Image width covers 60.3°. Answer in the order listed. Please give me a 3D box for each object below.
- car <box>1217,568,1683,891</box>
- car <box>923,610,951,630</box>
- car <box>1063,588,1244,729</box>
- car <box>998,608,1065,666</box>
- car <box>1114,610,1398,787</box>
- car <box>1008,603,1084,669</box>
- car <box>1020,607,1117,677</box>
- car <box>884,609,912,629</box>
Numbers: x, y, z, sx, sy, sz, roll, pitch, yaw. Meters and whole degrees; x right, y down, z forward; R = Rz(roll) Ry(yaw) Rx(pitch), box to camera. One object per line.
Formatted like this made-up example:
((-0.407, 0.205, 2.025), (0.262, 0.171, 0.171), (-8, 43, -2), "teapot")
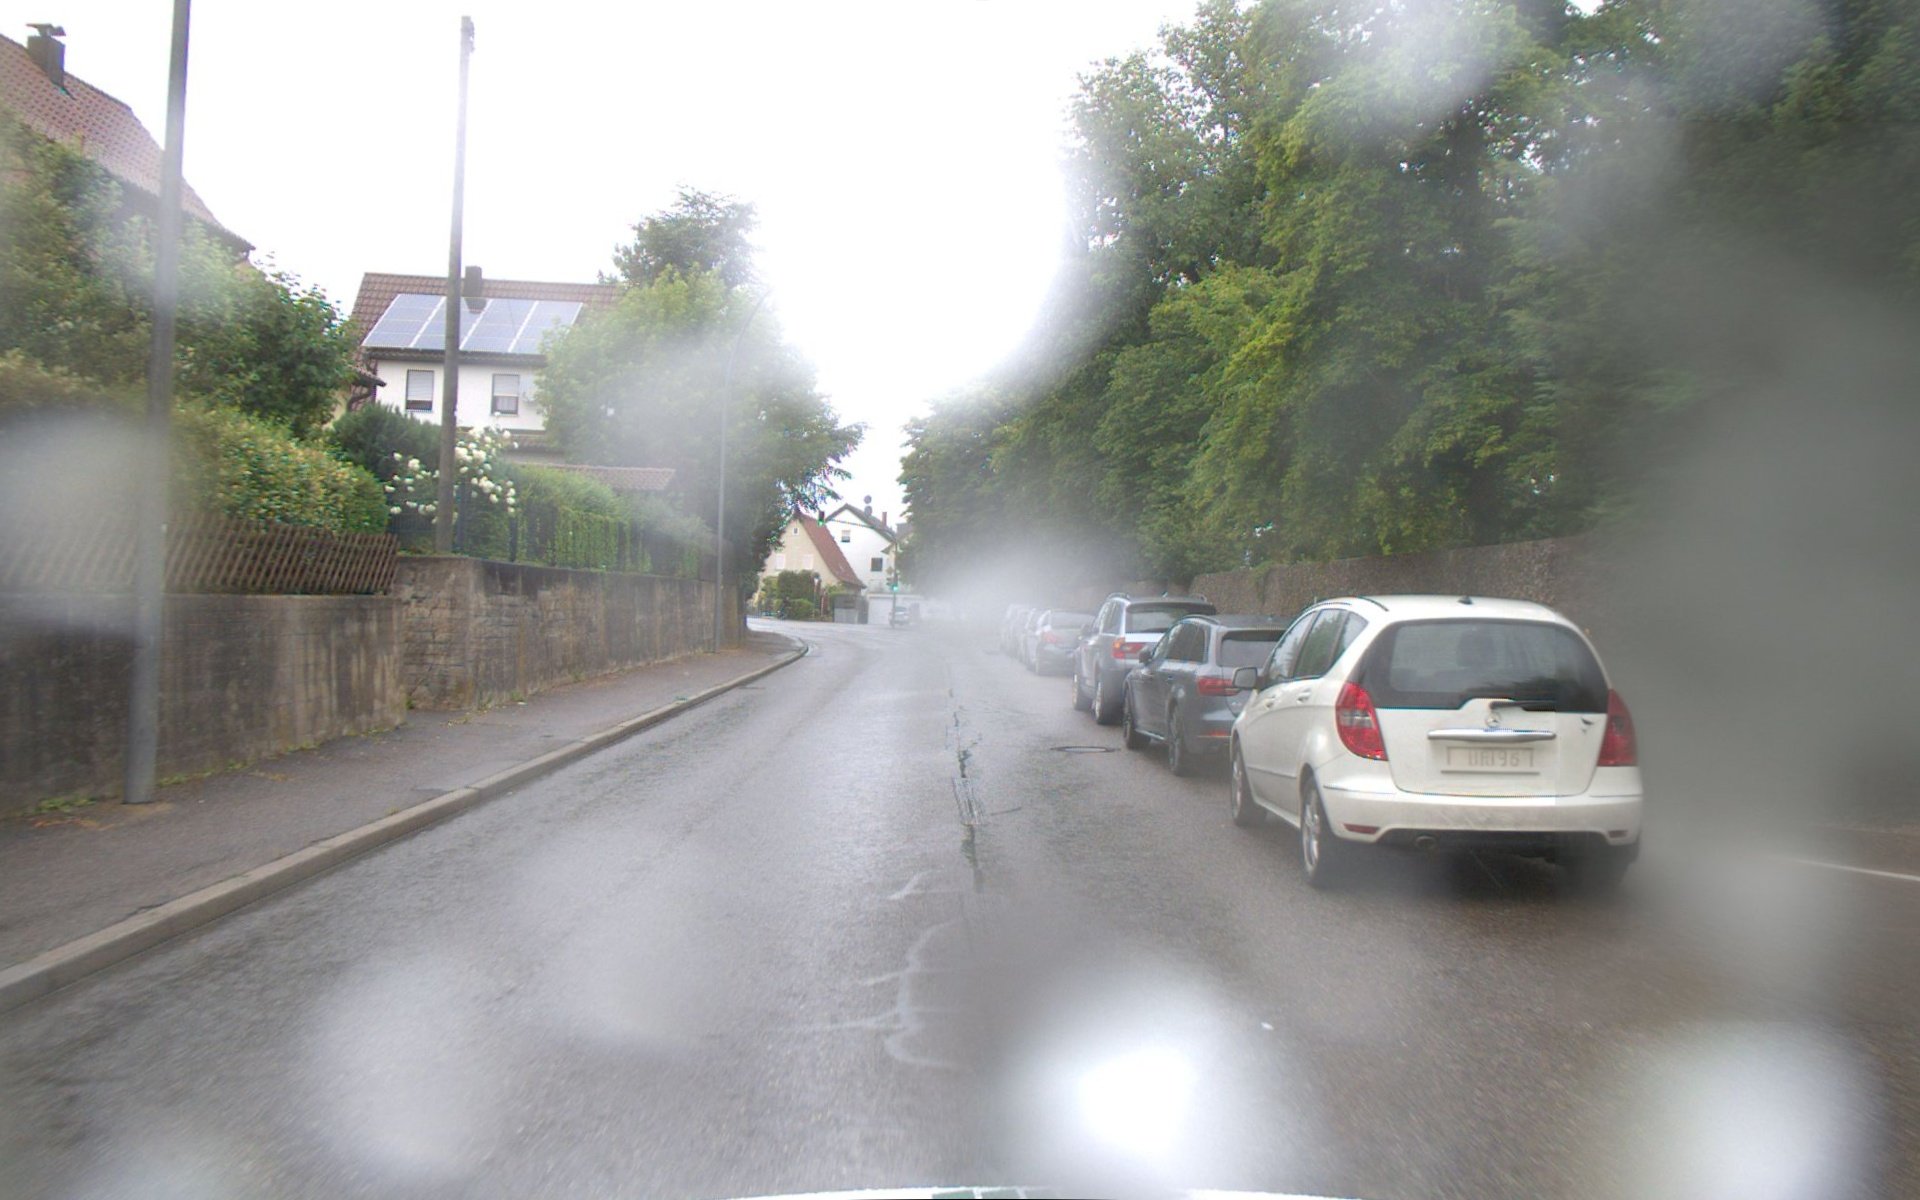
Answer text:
((2.804, 0.686, 10.383), (1.777, 1.601, 3.880), (1, -1, 0), "car")
((-1.744, 1.529, 126.613), (1.867, 1.467, 4.001), (1, 0, 2), "car")
((2.531, 0.752, 22.688), (1.707, 1.697, 4.494), (1, -1, -3), "car")
((1.993, 1.056, 47.273), (1.614, 1.523, 4.245), (2, -1, -1), "car")
((2.749, 0.871, 16.462), (1.729, 1.472, 4.693), (1, -1, -3), "car")
((2.130, 0.922, 41.945), (1.614, 1.523, 3.708), (2, -1, -1), "car")
((2.334, 0.877, 36.439), (1.619, 1.395, 4.179), (1, 0, -3), "car")
((-4.747, 1.433, 126.992), (1.867, 1.467, 4.001), (1, 0, 2), "car")
